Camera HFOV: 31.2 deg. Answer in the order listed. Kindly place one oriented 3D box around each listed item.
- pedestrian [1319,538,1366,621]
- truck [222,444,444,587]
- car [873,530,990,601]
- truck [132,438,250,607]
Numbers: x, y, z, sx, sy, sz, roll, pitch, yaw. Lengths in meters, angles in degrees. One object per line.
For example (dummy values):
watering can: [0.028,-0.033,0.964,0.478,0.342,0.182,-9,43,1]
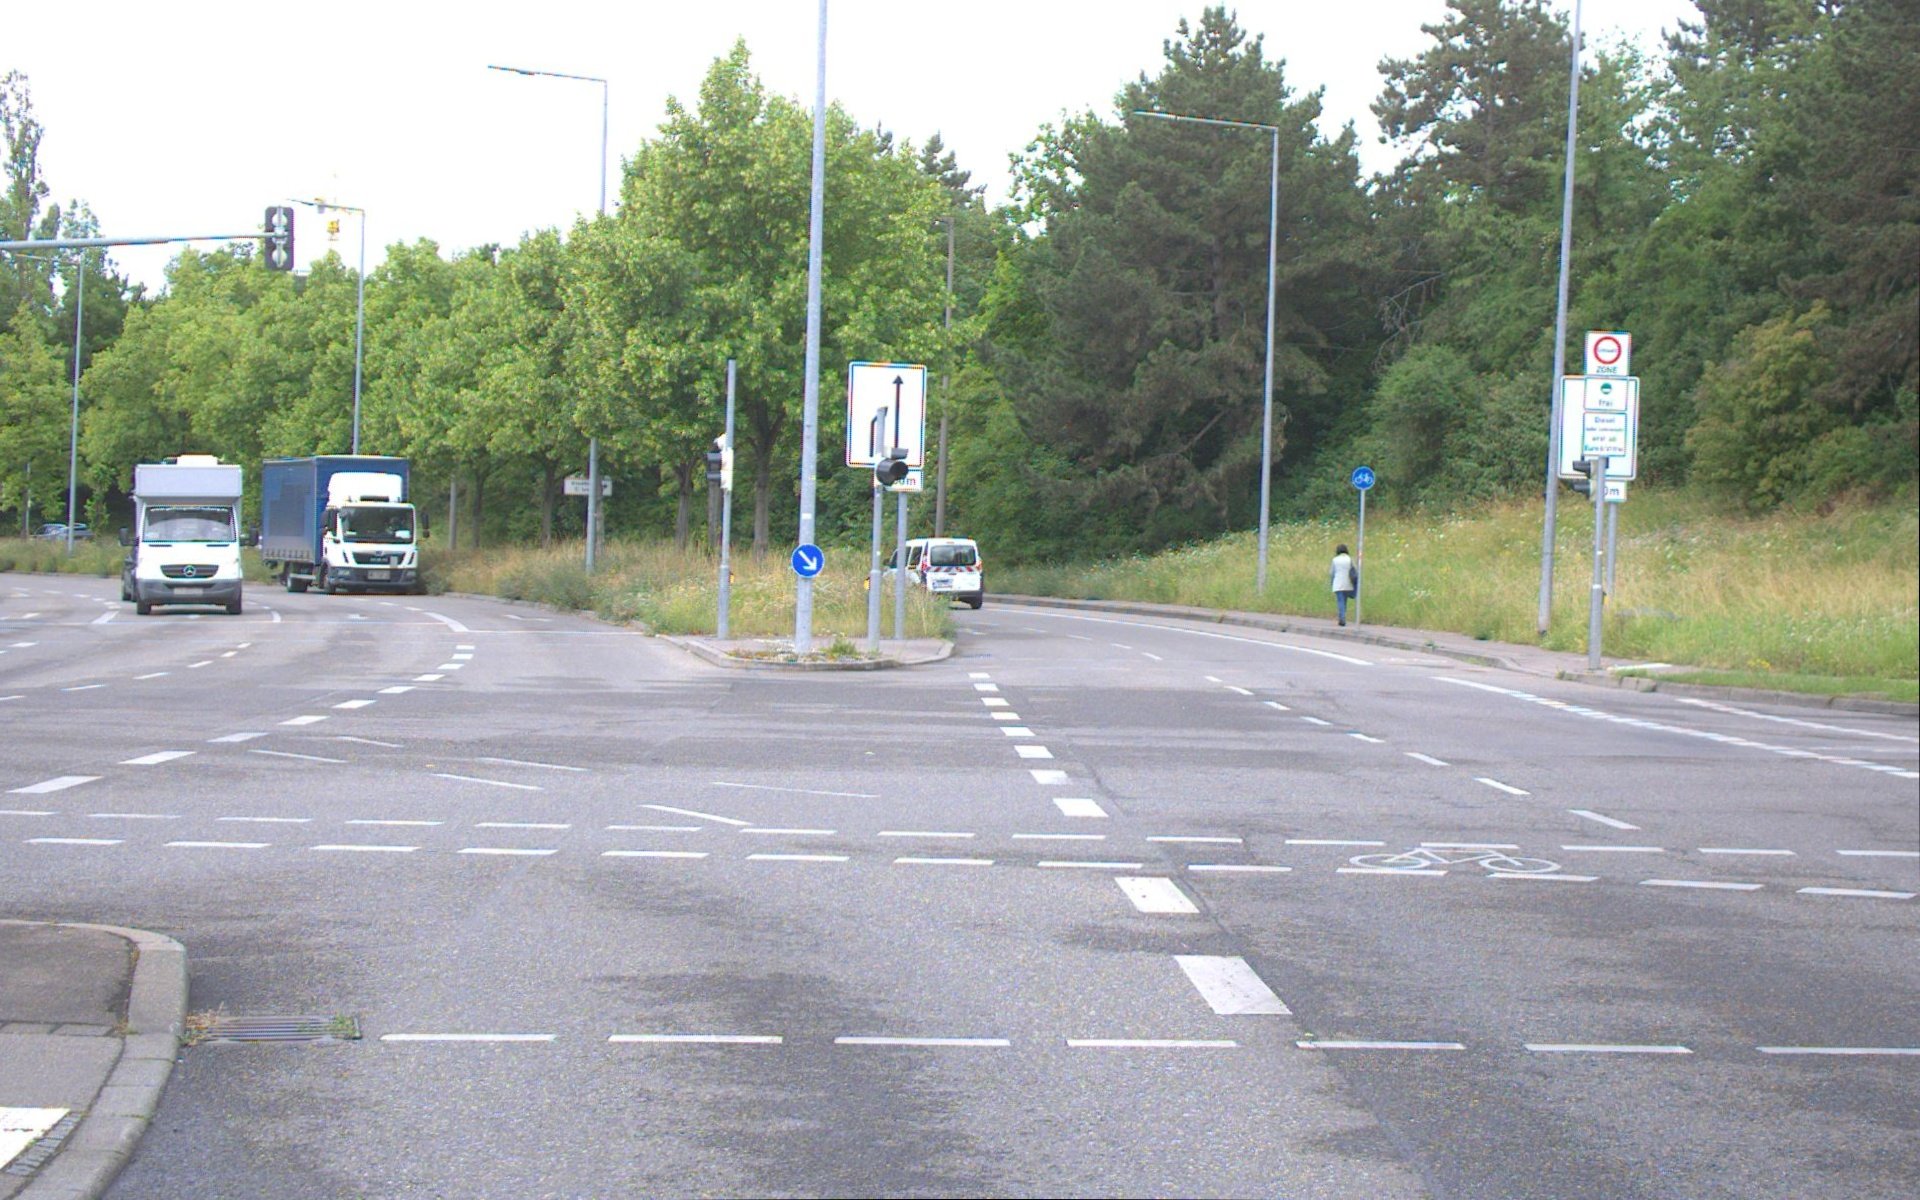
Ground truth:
pedestrian: [7.640,-0.414,68.625,0.814,1.622,0.791,1,1,-1]
truck: [-17.855,-2.325,96.966,3.048,3.747,12.816,1,1,-25]
car: [-0.767,-0.894,89.442,1.994,1.796,4.840,0,0,-14]
truck: [-15.048,-1.478,67.162,2.115,3.124,5.902,1,1,-13]
